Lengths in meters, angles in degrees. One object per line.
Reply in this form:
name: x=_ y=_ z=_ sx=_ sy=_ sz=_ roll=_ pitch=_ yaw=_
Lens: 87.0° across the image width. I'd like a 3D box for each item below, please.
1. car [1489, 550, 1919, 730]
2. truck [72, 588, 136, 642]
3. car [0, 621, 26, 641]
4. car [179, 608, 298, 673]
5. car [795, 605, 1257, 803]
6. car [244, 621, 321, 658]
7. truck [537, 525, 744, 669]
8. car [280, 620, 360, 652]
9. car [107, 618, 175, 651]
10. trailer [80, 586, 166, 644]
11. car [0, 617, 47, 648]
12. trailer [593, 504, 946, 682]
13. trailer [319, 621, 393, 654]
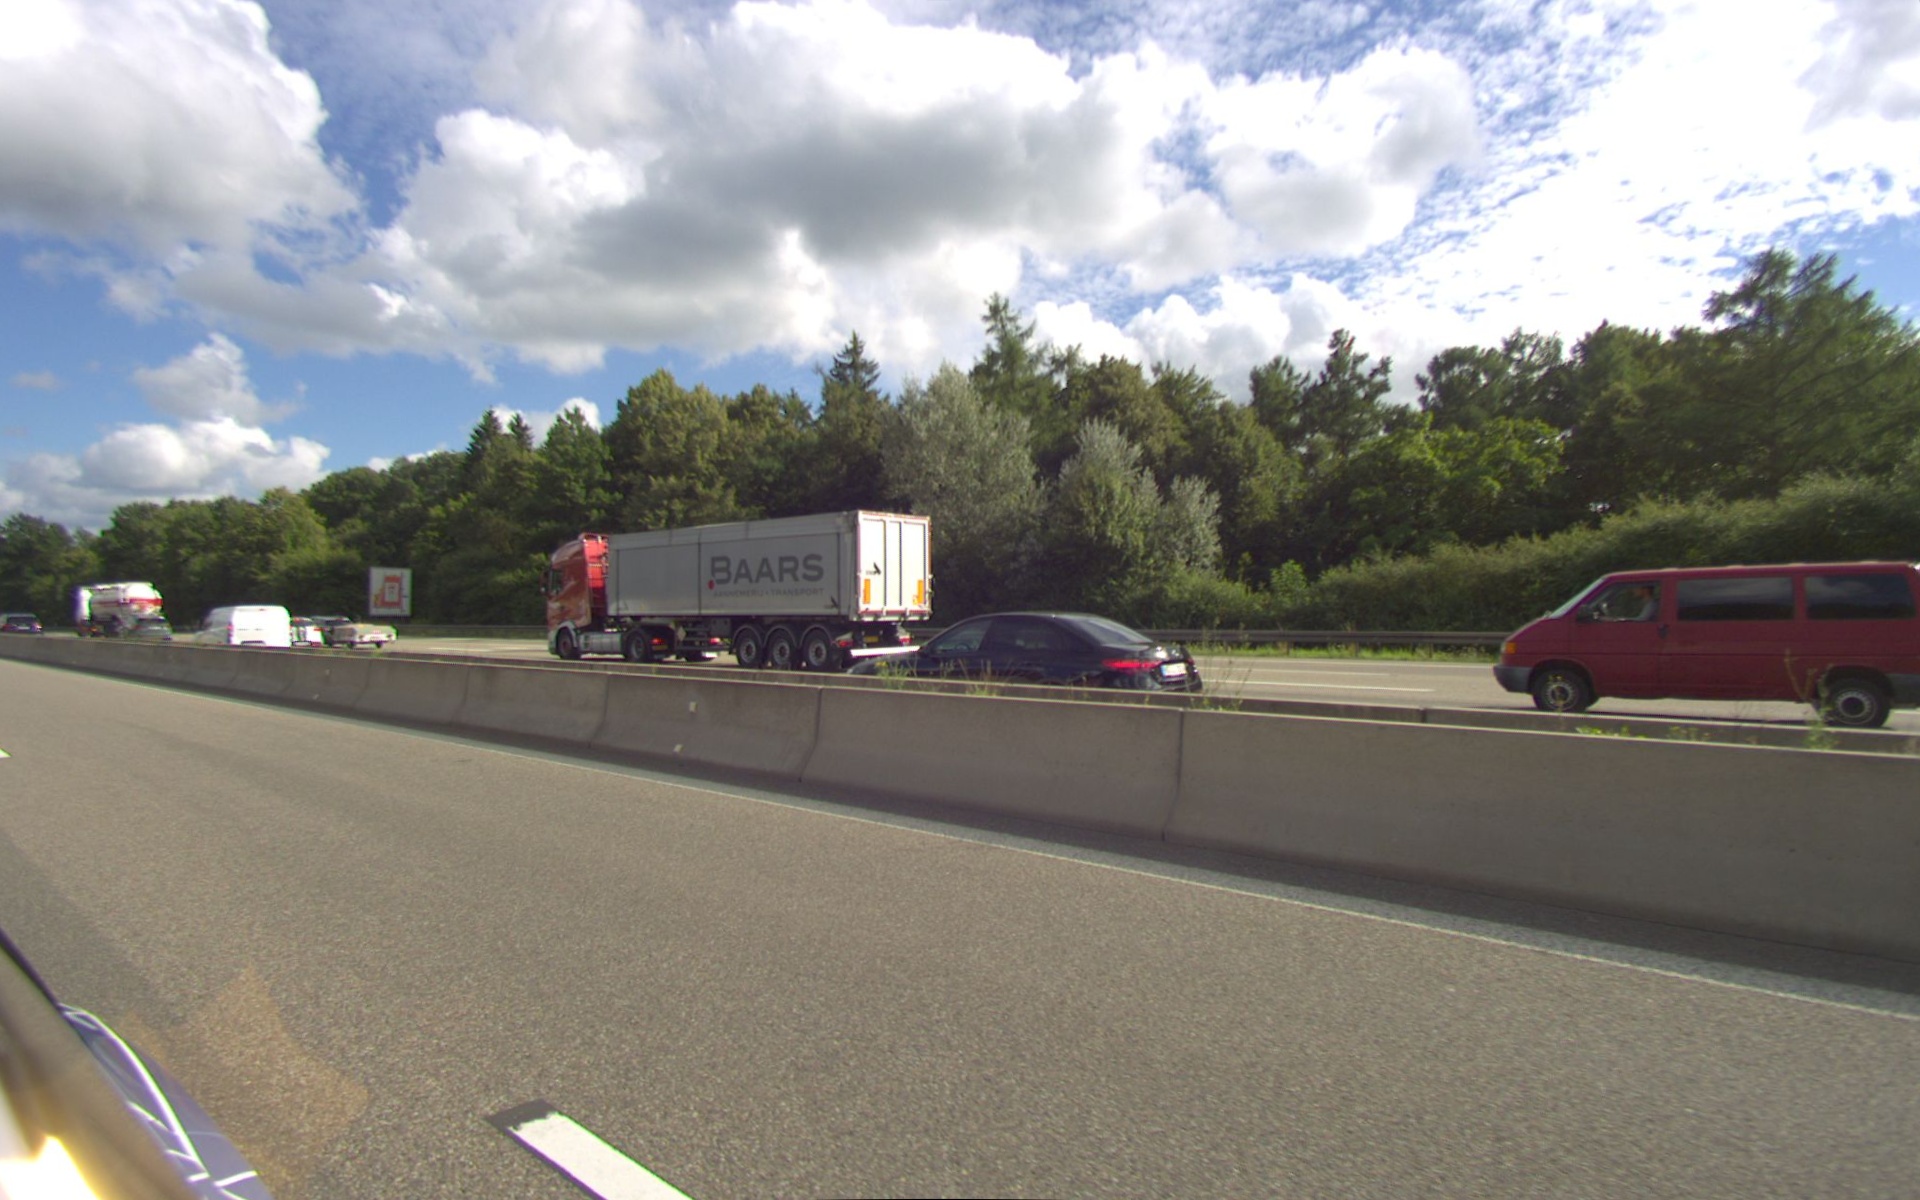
car: x=9.657 y=0.489 z=12.776 sx=5.028 sy=1.955 sz=1.829 roll=-1 pitch=-2 yaw=39
truck: x=-66.288 y=1.190 z=78.317 sx=6.440 sy=3.975 sz=2.759 roll=-1 pitch=-1 yaw=40
car: x=-82.737 y=2.692 z=87.838 sx=4.743 sy=1.632 sz=1.841 roll=-1 pitch=-1 yaw=39
car: x=-22.628 y=1.249 z=31.681 sx=4.610 sy=1.892 sz=1.831 roll=-1 pitch=-2 yaw=39
car: x=0.609 y=1.078 z=12.282 sx=5.356 sy=1.892 sz=2.150 roll=-1 pitch=-2 yaw=39
car: x=-27.005 y=1.543 z=40.294 sx=3.998 sy=1.413 sz=1.586 roll=-1 pitch=-1 yaw=41
truck: x=-9.801 y=-0.009 z=30.667 sx=6.761 sy=3.887 sz=2.936 roll=-1 pitch=-1 yaw=41
car: x=-30.380 y=1.704 z=47.969 sx=4.669 sy=1.425 sz=1.809 roll=-1 pitch=-1 yaw=39
car: x=-44.520 y=1.838 z=54.965 sx=4.682 sy=1.676 sz=1.974 roll=-1 pitch=-1 yaw=39
trailer: x=-61.663 y=1.137 z=74.387 sx=12.243 sy=3.975 sz=2.759 roll=-1 pitch=-1 yaw=40
car: x=-54.285 y=1.833 z=58.018 sx=5.344 sy=1.713 sz=2.134 roll=-1 pitch=-1 yaw=39
trailer: x=-5.547 y=-0.058 z=26.972 sx=11.275 sy=3.887 sz=2.936 roll=-1 pitch=-1 yaw=41
trailer: x=-26.983 y=1.653 z=45.166 sx=4.175 sy=1.413 sz=1.519 roll=-1 pitch=-1 yaw=39
